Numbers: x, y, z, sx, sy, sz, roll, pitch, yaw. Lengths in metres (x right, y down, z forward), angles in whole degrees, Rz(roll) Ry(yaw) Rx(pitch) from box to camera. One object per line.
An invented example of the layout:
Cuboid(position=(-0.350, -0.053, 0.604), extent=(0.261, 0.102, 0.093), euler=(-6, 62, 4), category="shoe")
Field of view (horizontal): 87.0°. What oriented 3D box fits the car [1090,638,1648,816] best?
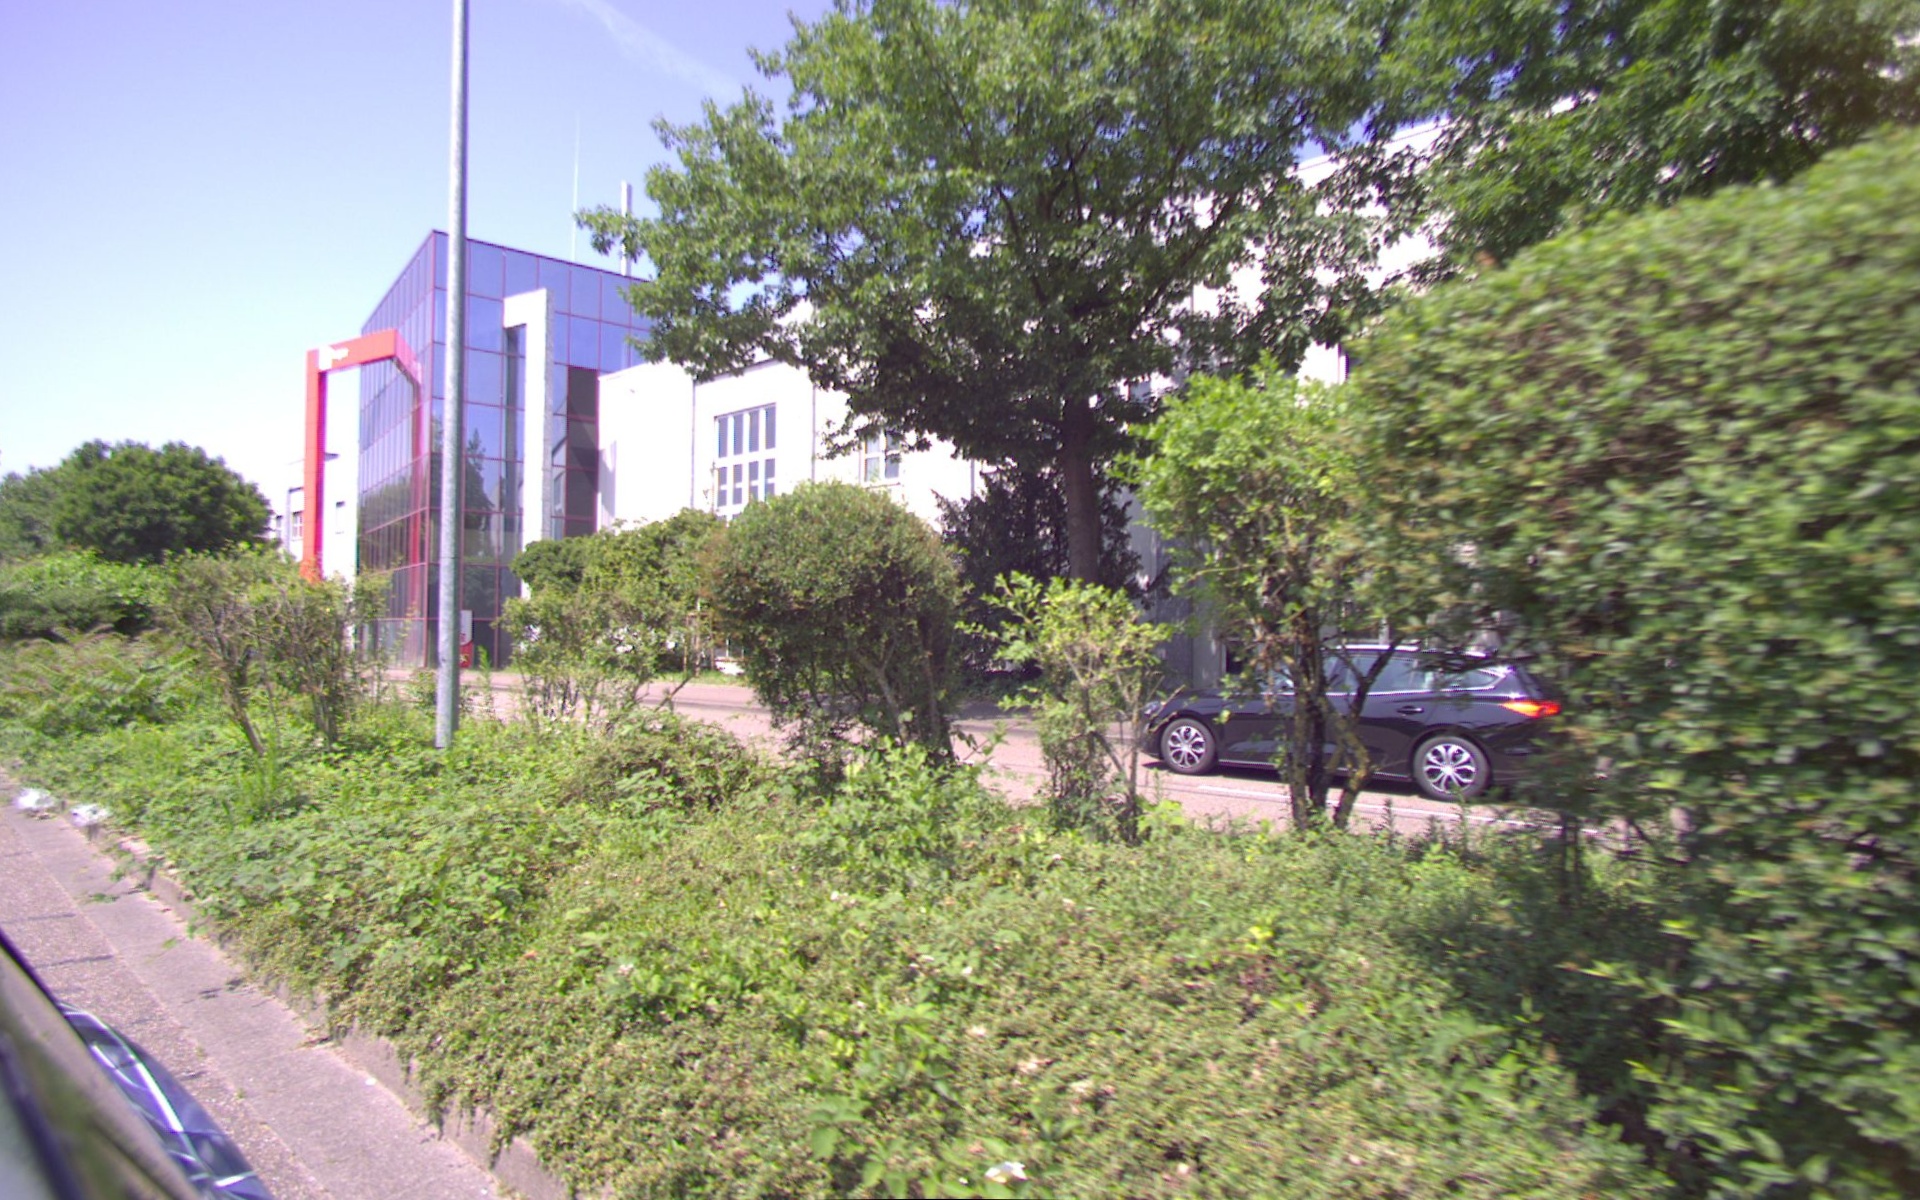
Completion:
Cuboid(position=(4.188, 1.192, 11.013), extent=(5.238, 1.462, 2.104), euler=(-2, -4, 41), category="car")
